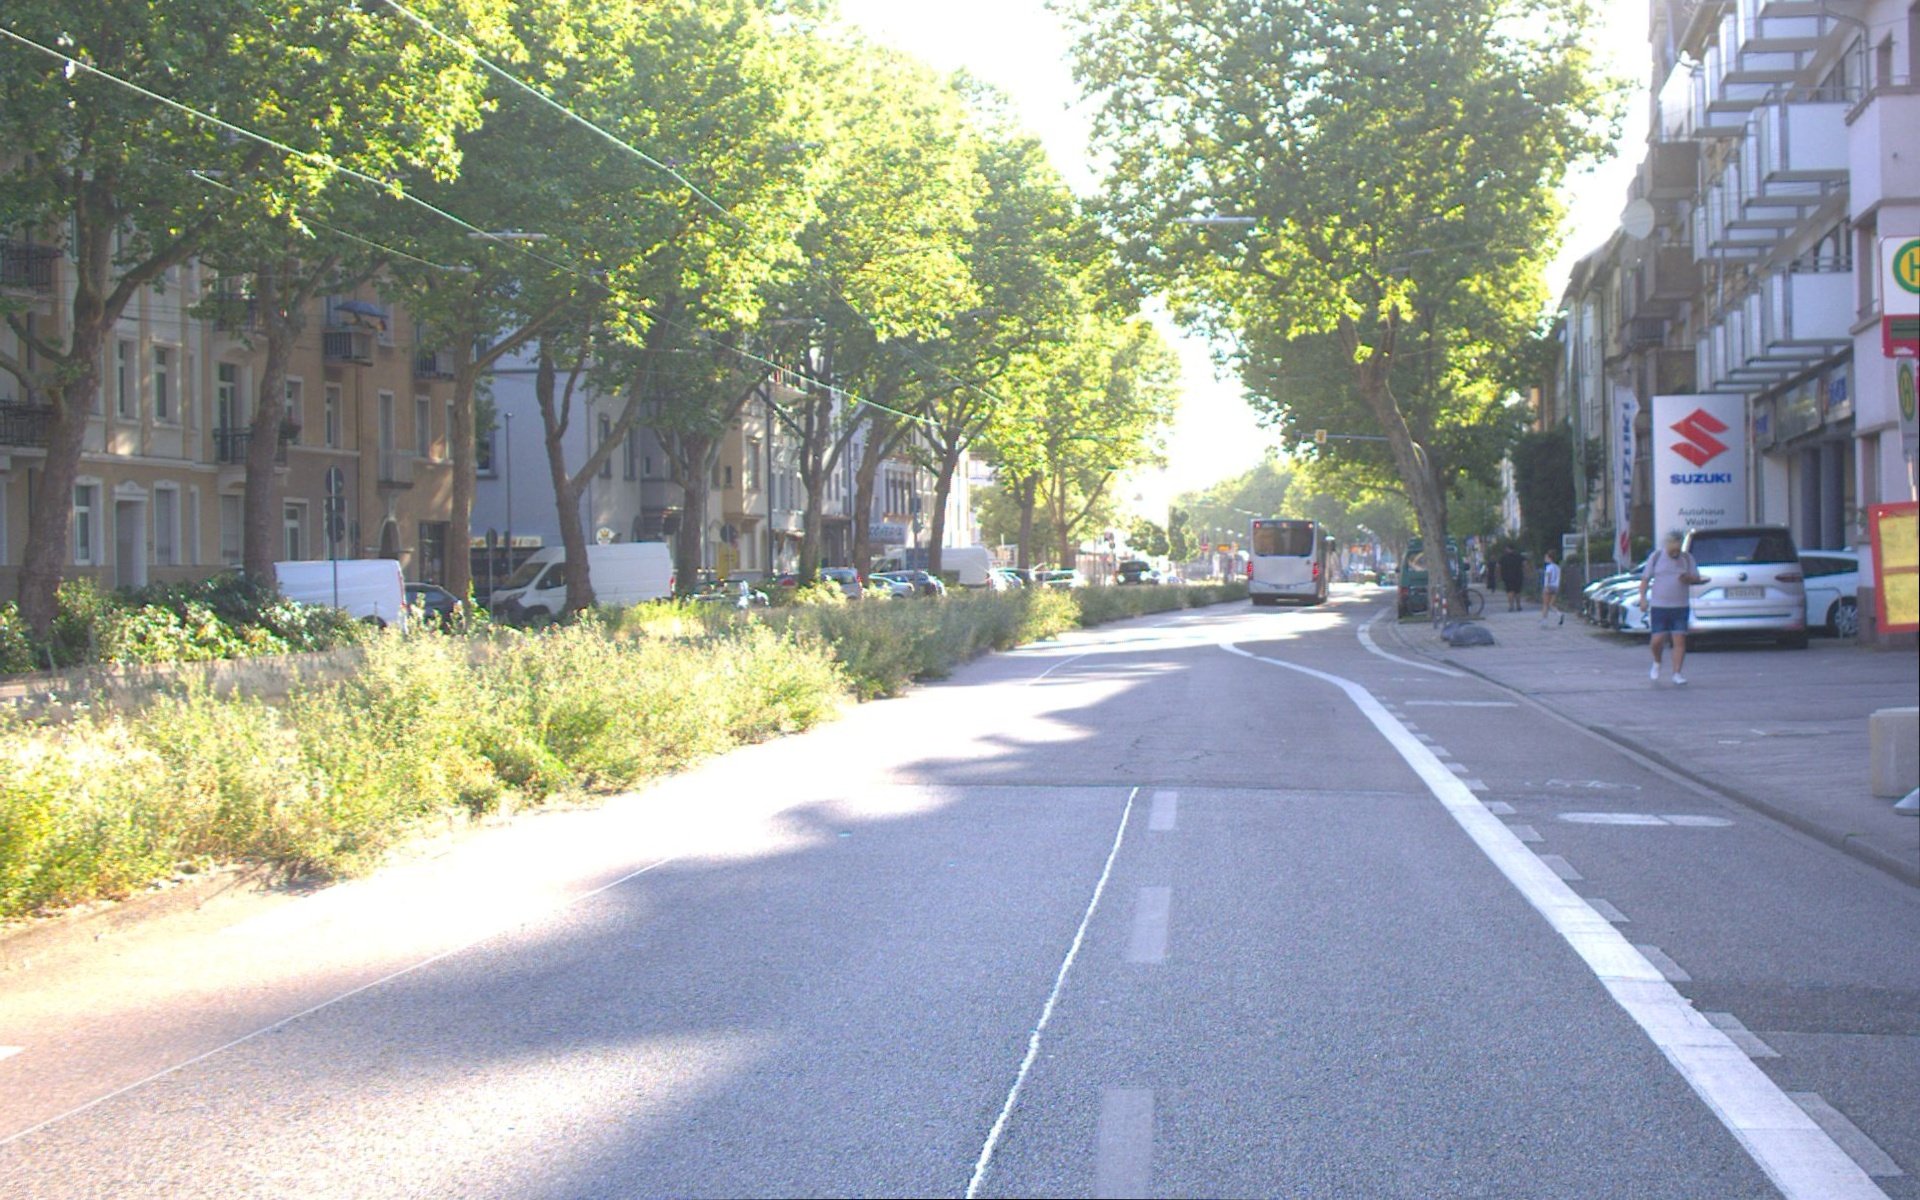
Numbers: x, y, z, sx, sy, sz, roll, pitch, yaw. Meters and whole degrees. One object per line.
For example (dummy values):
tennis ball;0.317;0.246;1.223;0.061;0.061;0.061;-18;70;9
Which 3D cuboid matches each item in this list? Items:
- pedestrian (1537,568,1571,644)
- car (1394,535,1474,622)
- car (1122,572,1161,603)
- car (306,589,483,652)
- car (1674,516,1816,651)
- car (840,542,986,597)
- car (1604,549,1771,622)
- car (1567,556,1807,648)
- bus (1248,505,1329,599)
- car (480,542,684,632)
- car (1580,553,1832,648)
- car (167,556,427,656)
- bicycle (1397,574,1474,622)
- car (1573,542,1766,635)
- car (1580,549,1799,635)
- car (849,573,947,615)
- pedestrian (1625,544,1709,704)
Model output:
pedestrian;12.711;0.131;73.634;0.663;1.623;0.922;-1;-1;7
car;12.699;-0.539;92.324;1.994;2.249;5.234;-1;0;7
car;10.338;-0.681;195.987;1.869;1.688;4.776;-1;0;-1
car;-13.253;0.466;80.588;3.716;1.417;1.721;-1;0;-34
car;11.971;-0.226;52.644;1.893;1.942;4.898;-1;0;10
car;-2.341;-1.511;170.784;6.935;2.669;2.186;0;-1;-13
car;15.940;-0.306;75.456;3.418;1.541;1.442;-1;-1;5
car;12.545;0.027;59.501;3.869;1.509;1.809;-1;1;6
bus;12.034;-1.706;126.319;2.834;3.224;8.180;-1;0;5
car;-10.870;-0.398;99.056;5.491;2.520;2.126;-1;0;-34
car;12.378;0.001;57.202;3.811;1.496;1.913;-1;1;3
car;-14.260;0.106;74.090;5.230;2.059;1.721;-1;0;-34
bicycle;11.571;-0.043;83.646;1.845;1.139;0.348;-1;-1;7
car;13.634;-0.231;66.218;3.582;1.714;1.681;-1;2;10
car;13.586;-0.154;64.213;3.820;1.535;1.859;-1;0;6
car;-2.797;-0.278;155.135;3.986;1.693;1.856;-2;0;-24
pedestrian;8.145;0.279;39.642;0.829;1.806;1.150;-1;-1;6
